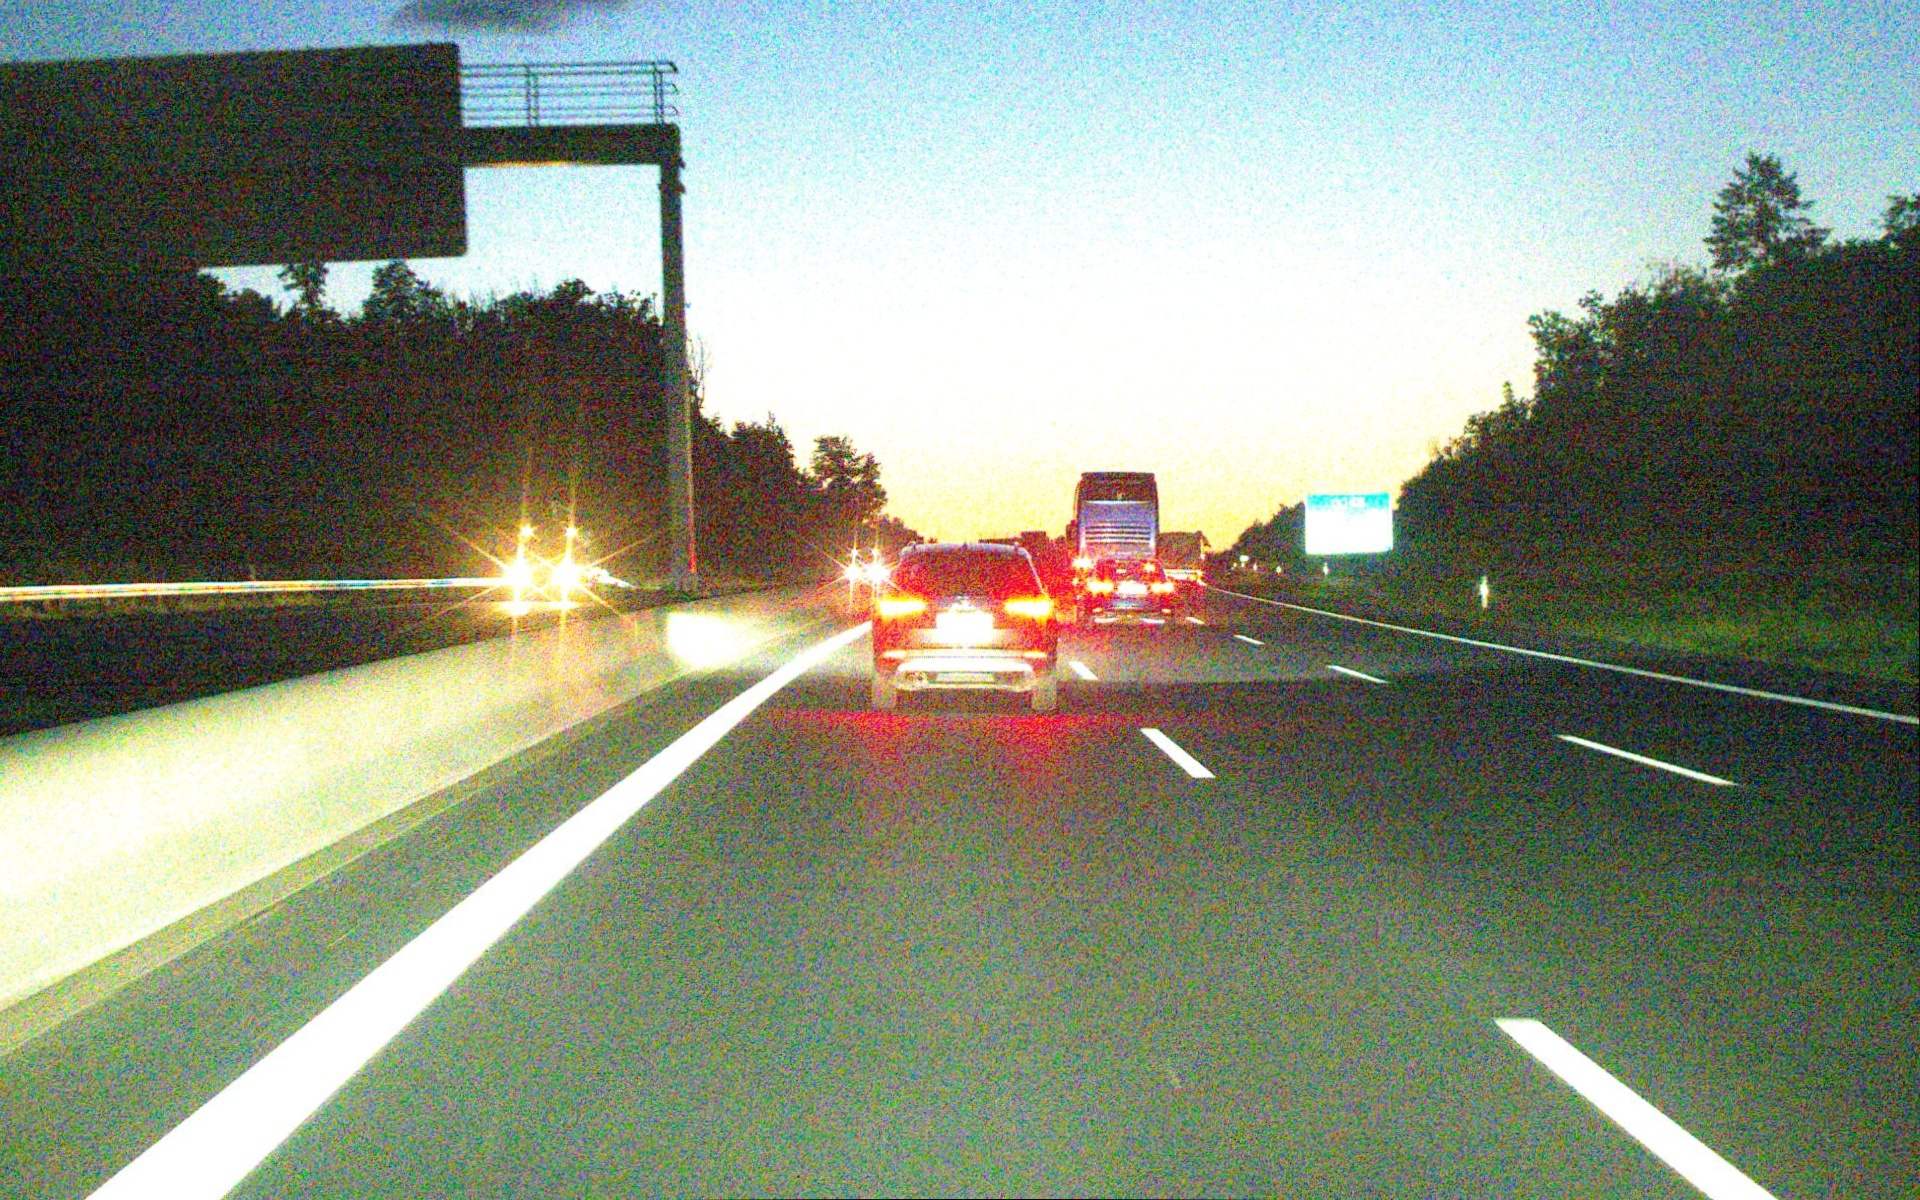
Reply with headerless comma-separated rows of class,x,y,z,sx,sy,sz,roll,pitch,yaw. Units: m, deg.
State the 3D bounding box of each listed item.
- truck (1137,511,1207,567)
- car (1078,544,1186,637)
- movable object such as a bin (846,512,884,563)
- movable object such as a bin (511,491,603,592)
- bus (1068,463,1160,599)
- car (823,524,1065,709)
truck,11.918,-3.427,194.212,2.545,3.005,9.055,1,1,-5
car,3.439,-0.179,69.539,1.911,1.724,4.000,3,0,0
movable object such as a bin,-7.086,-4.694,258.029,2.293,3.756,7.686,0,1,3
movable object such as a bin,-13.945,-2.026,119.391,2.208,3.405,7.437,0,1,1
bus,5.045,-2.100,111.858,2.652,3.980,14.700,-2,0,3
car,-0.228,0.107,33.743,2.105,1.612,4.205,1,2,-4
